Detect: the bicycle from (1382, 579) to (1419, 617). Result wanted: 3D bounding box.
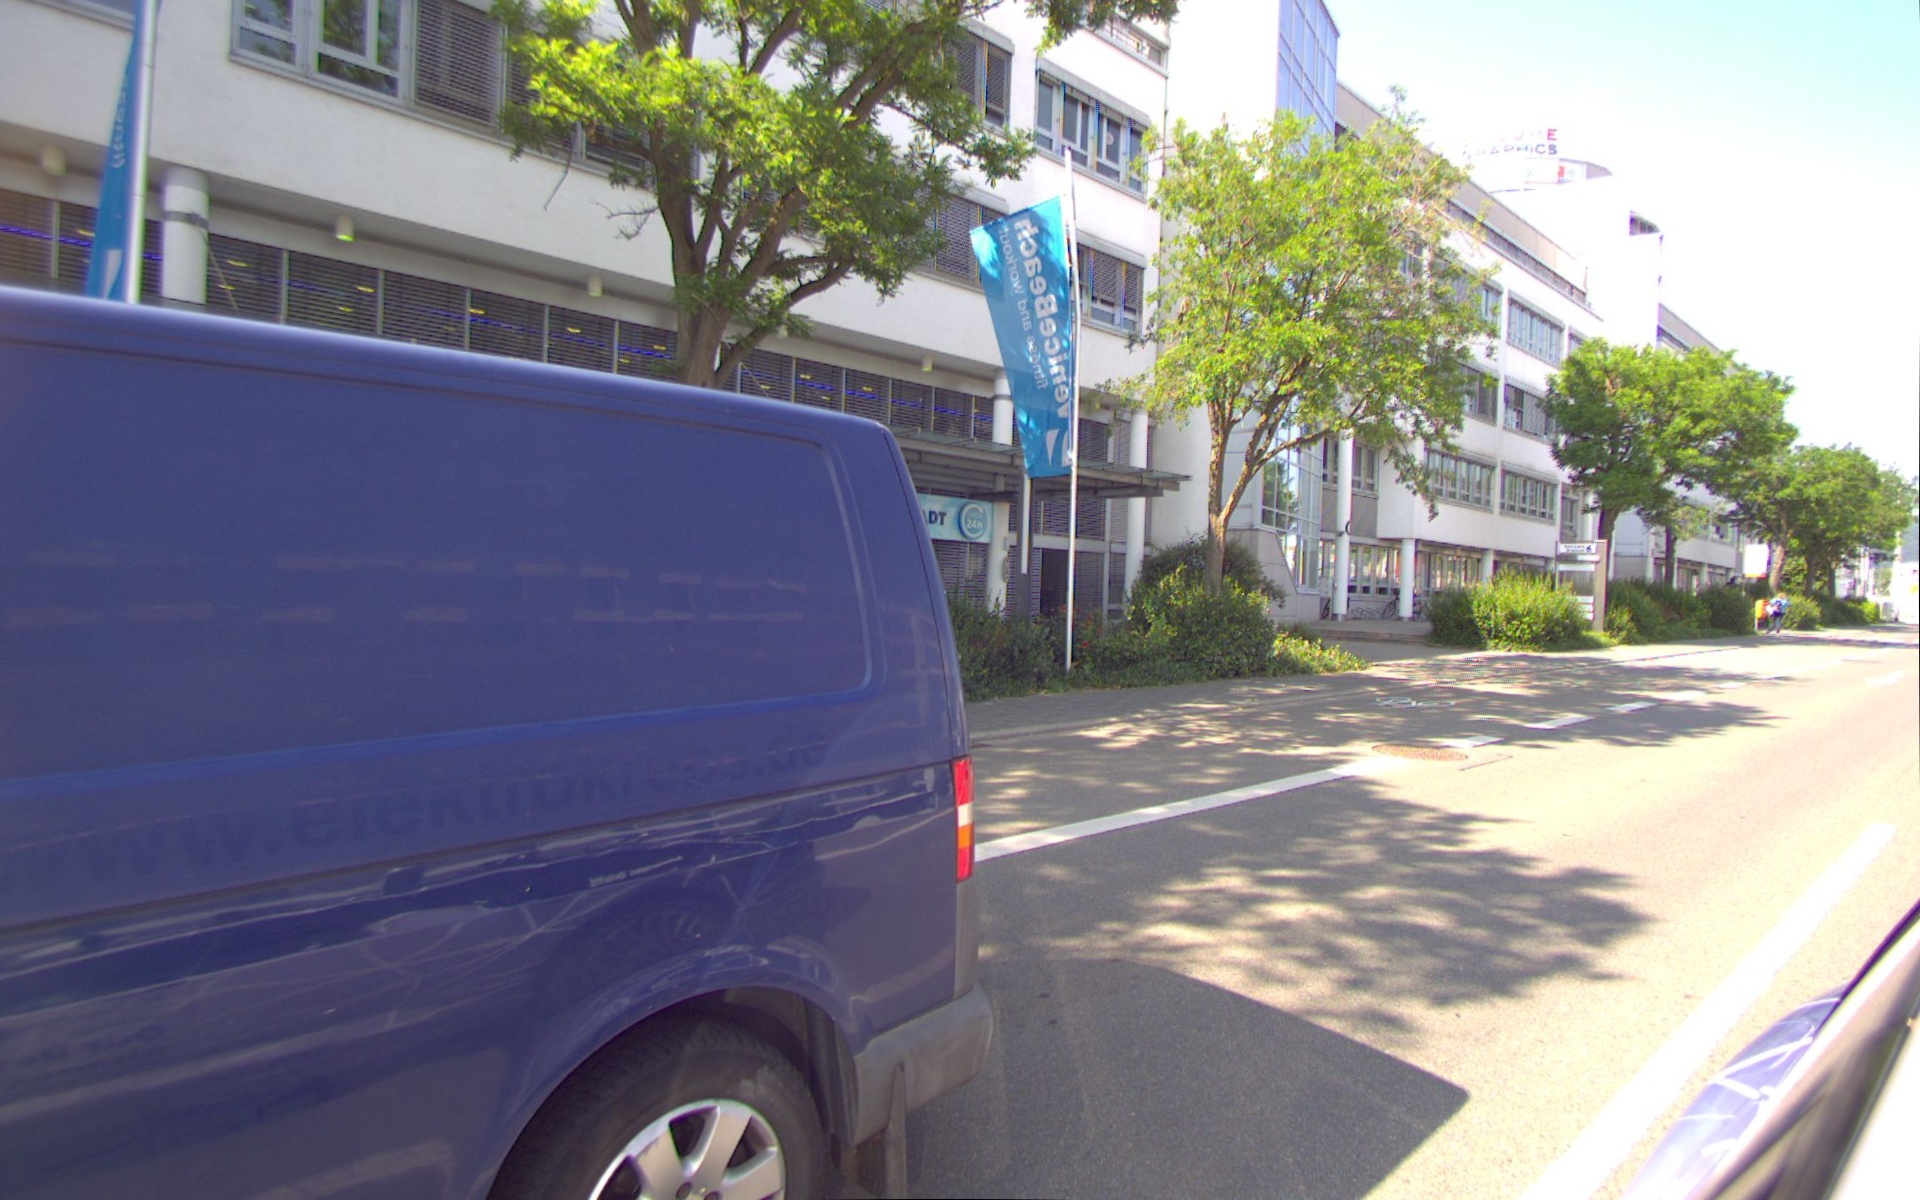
[{"bbox_3d":[16.335,-0.078,37.506,1.851,1.371,0.506,0,1,-41],"label":"bicycle"}]

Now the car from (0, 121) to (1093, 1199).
[{"bbox_3d":[-2.150,0.407,1.615,4.806,1.972,1.997,-1,2,-41],"label":"car"}]

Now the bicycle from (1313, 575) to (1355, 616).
[{"bbox_3d":[12.894,-0.146,34.883,1.851,1.371,0.506,0,1,-41],"label":"bicycle"}]

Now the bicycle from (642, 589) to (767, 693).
[{"bbox_3d":[-3.644,0.551,14.371,1.868,1.346,0.501,2,1,30],"label":"bicycle"}]

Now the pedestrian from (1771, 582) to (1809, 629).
[{"bbox_3d":[35.198,0.210,42.912,1.267,1.909,0.942,0,3,-41],"label":"pedestrian"}]

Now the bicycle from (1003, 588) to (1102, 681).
[{"bbox_3d":[1.445,0.500,15.545,0.504,1.346,1.856,2,1,41],"label":"bicycle"}]
